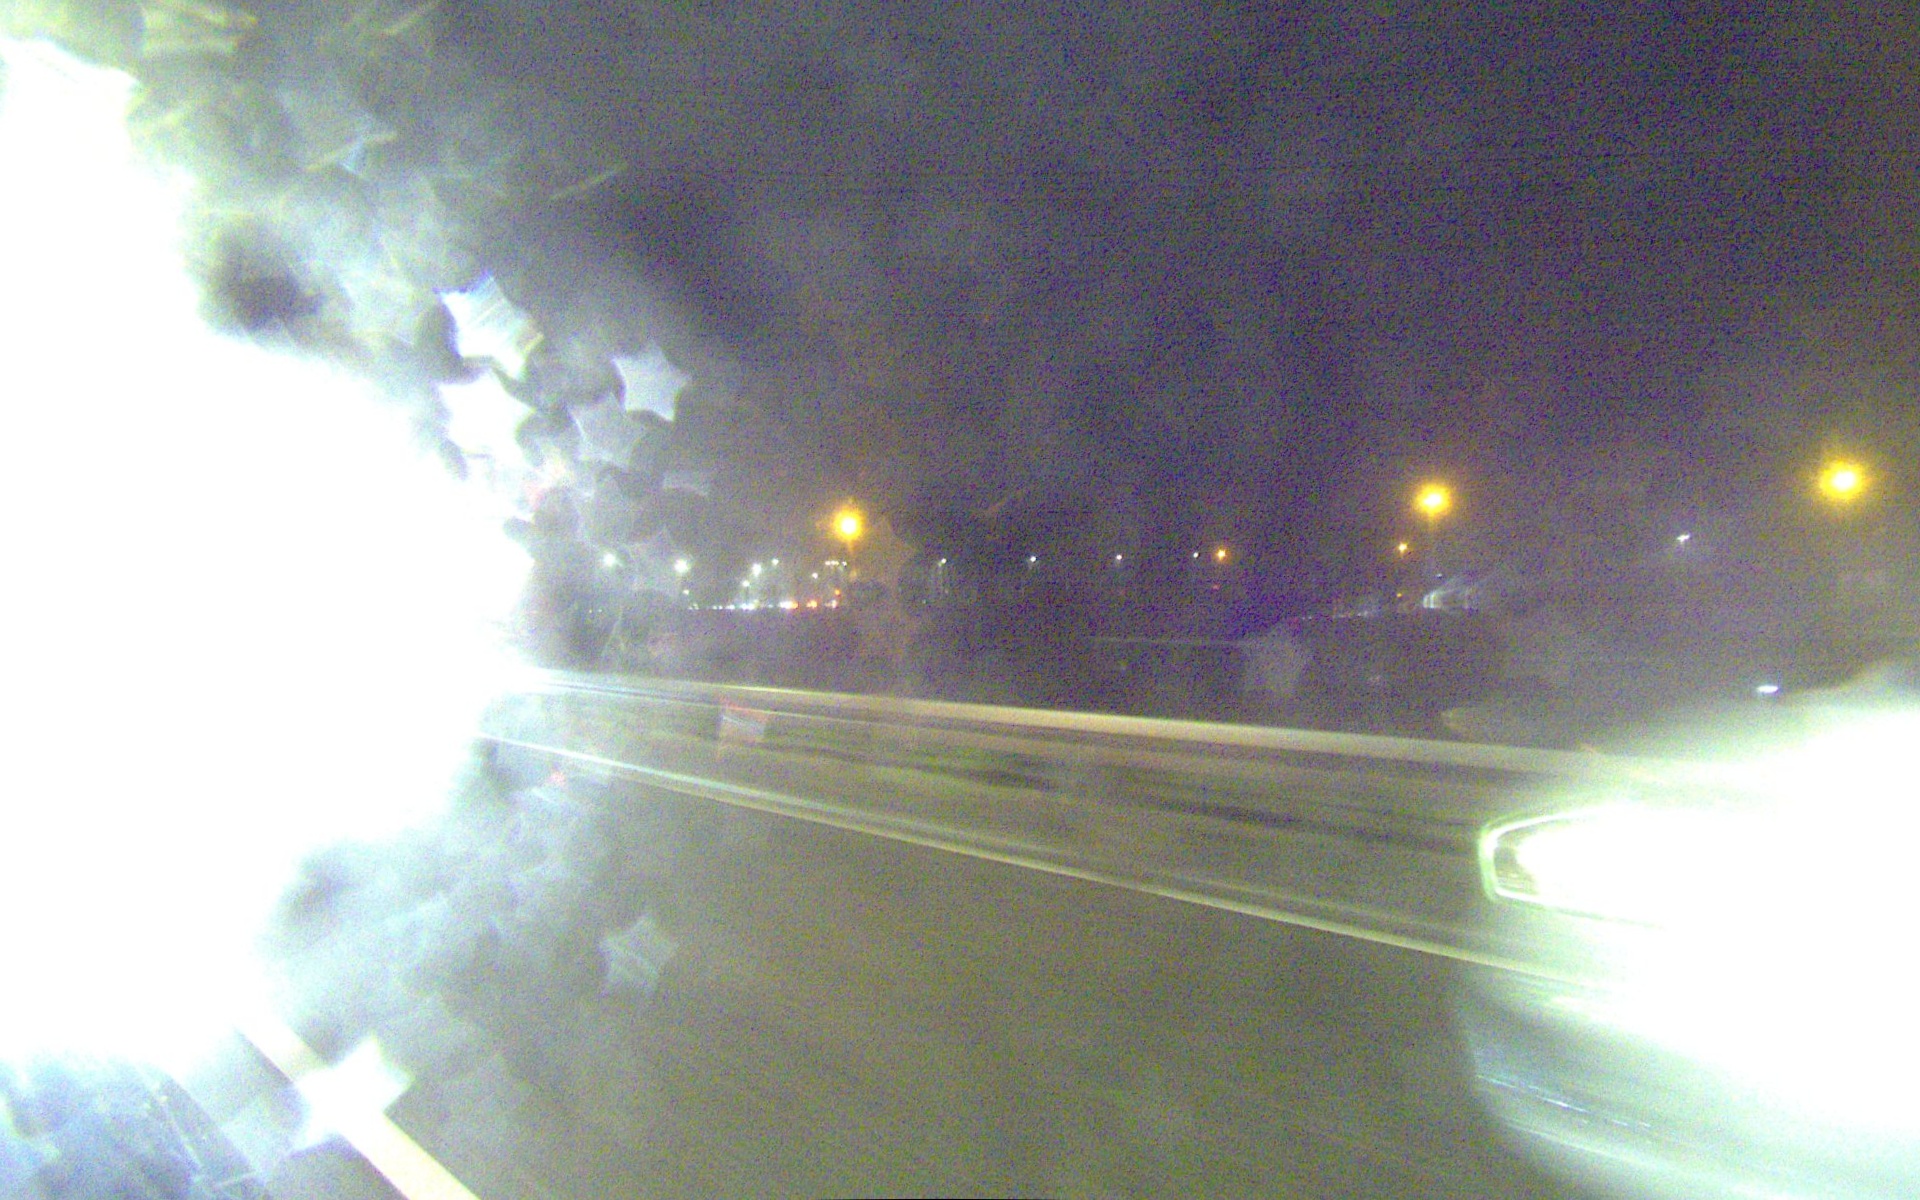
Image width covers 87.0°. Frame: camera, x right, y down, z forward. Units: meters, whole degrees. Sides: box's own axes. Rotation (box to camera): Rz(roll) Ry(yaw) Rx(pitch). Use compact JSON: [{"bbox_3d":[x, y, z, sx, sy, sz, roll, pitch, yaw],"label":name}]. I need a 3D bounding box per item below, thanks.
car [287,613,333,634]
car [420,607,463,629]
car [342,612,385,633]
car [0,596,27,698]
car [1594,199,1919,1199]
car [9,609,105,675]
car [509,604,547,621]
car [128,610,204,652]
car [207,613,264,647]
[{"bbox_3d":[-49.450,1.801,77.067,1.966,1.495,4.012,-1,-1,-17],"label":"car"},{"bbox_3d":[-49.953,1.732,97.571,2.343,2.107,4.424,-1,-1,-8],"label":"car"},{"bbox_3d":[-46.761,1.757,79.436,1.966,1.495,4.012,-1,-1,-17],"label":"car"},{"bbox_3d":[-19.702,0.914,19.693,1.906,1.887,4.008,-1,-1,-38],"label":"car"},{"bbox_3d":[3.983,0.363,0.973,5.486,2.003,2.426,-2,-1,38],"label":"car"},{"bbox_3d":[-29.031,1.305,32.649,1.967,1.949,4.009,-1,-1,-37],"label":"car"},{"bbox_3d":[-51.273,1.433,120.280,2.351,1.950,4.410,-1,-1,5],"label":"car"},{"bbox_3d":[-39.032,1.515,49.862,1.965,1.949,4.013,-1,-1,-23],"label":"car"},{"bbox_3d":[-44.864,1.843,62.767,1.965,1.949,4.013,-1,-1,-22],"label":"car"}]
